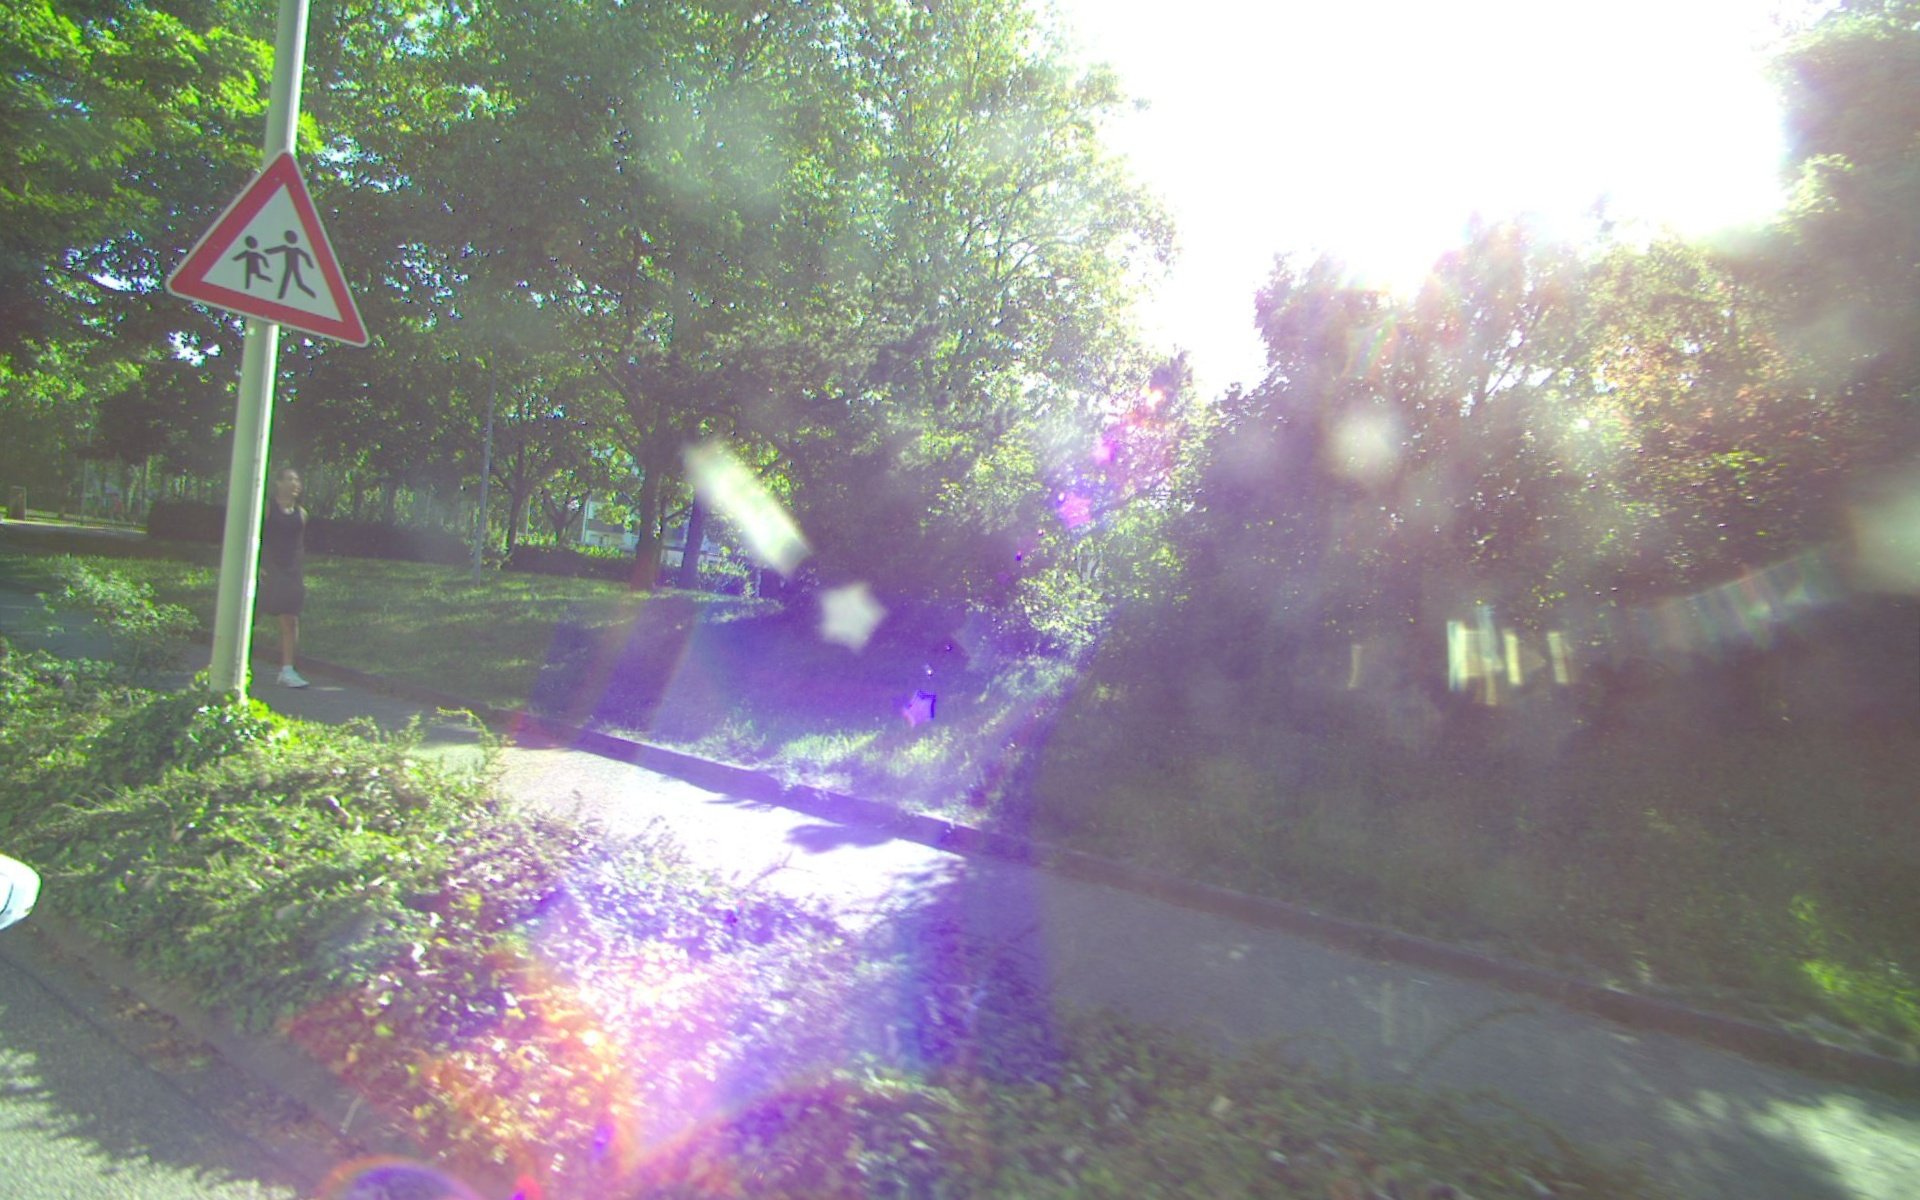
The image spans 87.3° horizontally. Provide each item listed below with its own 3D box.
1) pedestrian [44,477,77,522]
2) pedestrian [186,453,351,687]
[{"bbox_3d":[-35.555,-3.952,39.777,0.693,1.630,0.695,8,-1,-30],"label":"pedestrian"},{"bbox_3d":[-5.849,-0.232,8.532,0.660,1.855,0.792,7,1,30],"label":"pedestrian"}]
